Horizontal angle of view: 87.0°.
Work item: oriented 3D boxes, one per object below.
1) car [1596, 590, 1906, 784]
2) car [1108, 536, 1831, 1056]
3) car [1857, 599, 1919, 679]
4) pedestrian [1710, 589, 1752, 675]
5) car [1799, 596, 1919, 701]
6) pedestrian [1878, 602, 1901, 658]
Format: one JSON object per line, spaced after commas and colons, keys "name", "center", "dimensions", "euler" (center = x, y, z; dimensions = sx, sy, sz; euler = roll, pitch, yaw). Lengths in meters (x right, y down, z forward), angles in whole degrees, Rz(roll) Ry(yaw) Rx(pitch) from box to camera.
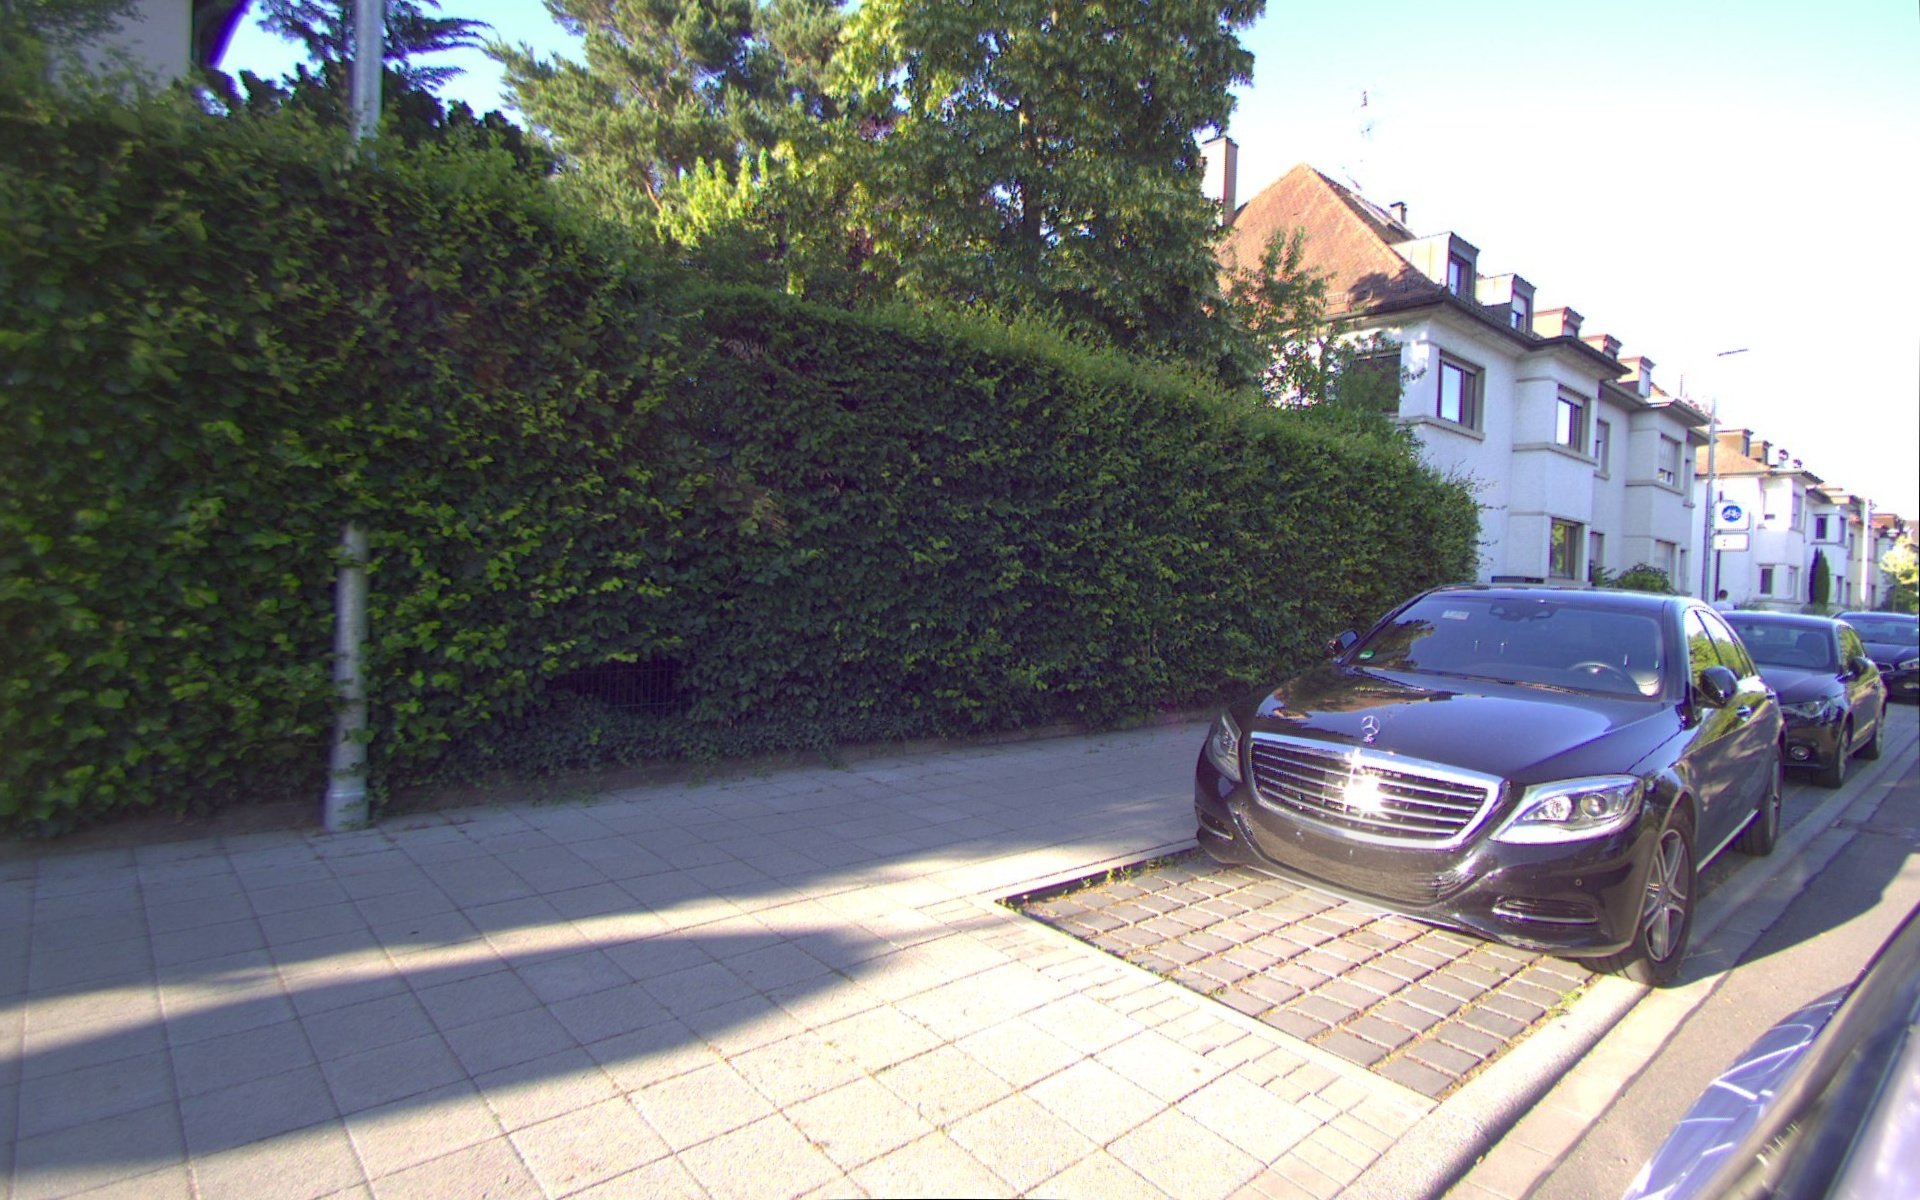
{"name": "car", "center": [7.764, 0.691, 9.801], "dimensions": [3.932, 1.496, 1.781], "euler": [1, -1, -43]}
{"name": "car", "center": [3.093, 0.562, 5.453], "dimensions": [4.835, 1.517, 2.006], "euler": [1, 3, -45]}
{"name": "car", "center": [19.949, 0.787, 20.931], "dimensions": [3.410, 1.554, 1.679], "euler": [1, -1, -41]}
{"name": "pedestrian", "center": [17.229, 0.694, 22.619], "dimensions": [0.809, 1.869, 0.587], "euler": [0, 0, -41]}
{"name": "car", "center": [15.860, 0.780, 17.343], "dimensions": [4.007, 1.616, 1.793], "euler": [1, -1, -43]}
{"name": "pedestrian", "center": [30.655, 0.991, 33.382], "dimensions": [0.579, 1.821, 0.530], "euler": [1, -1, -44]}
